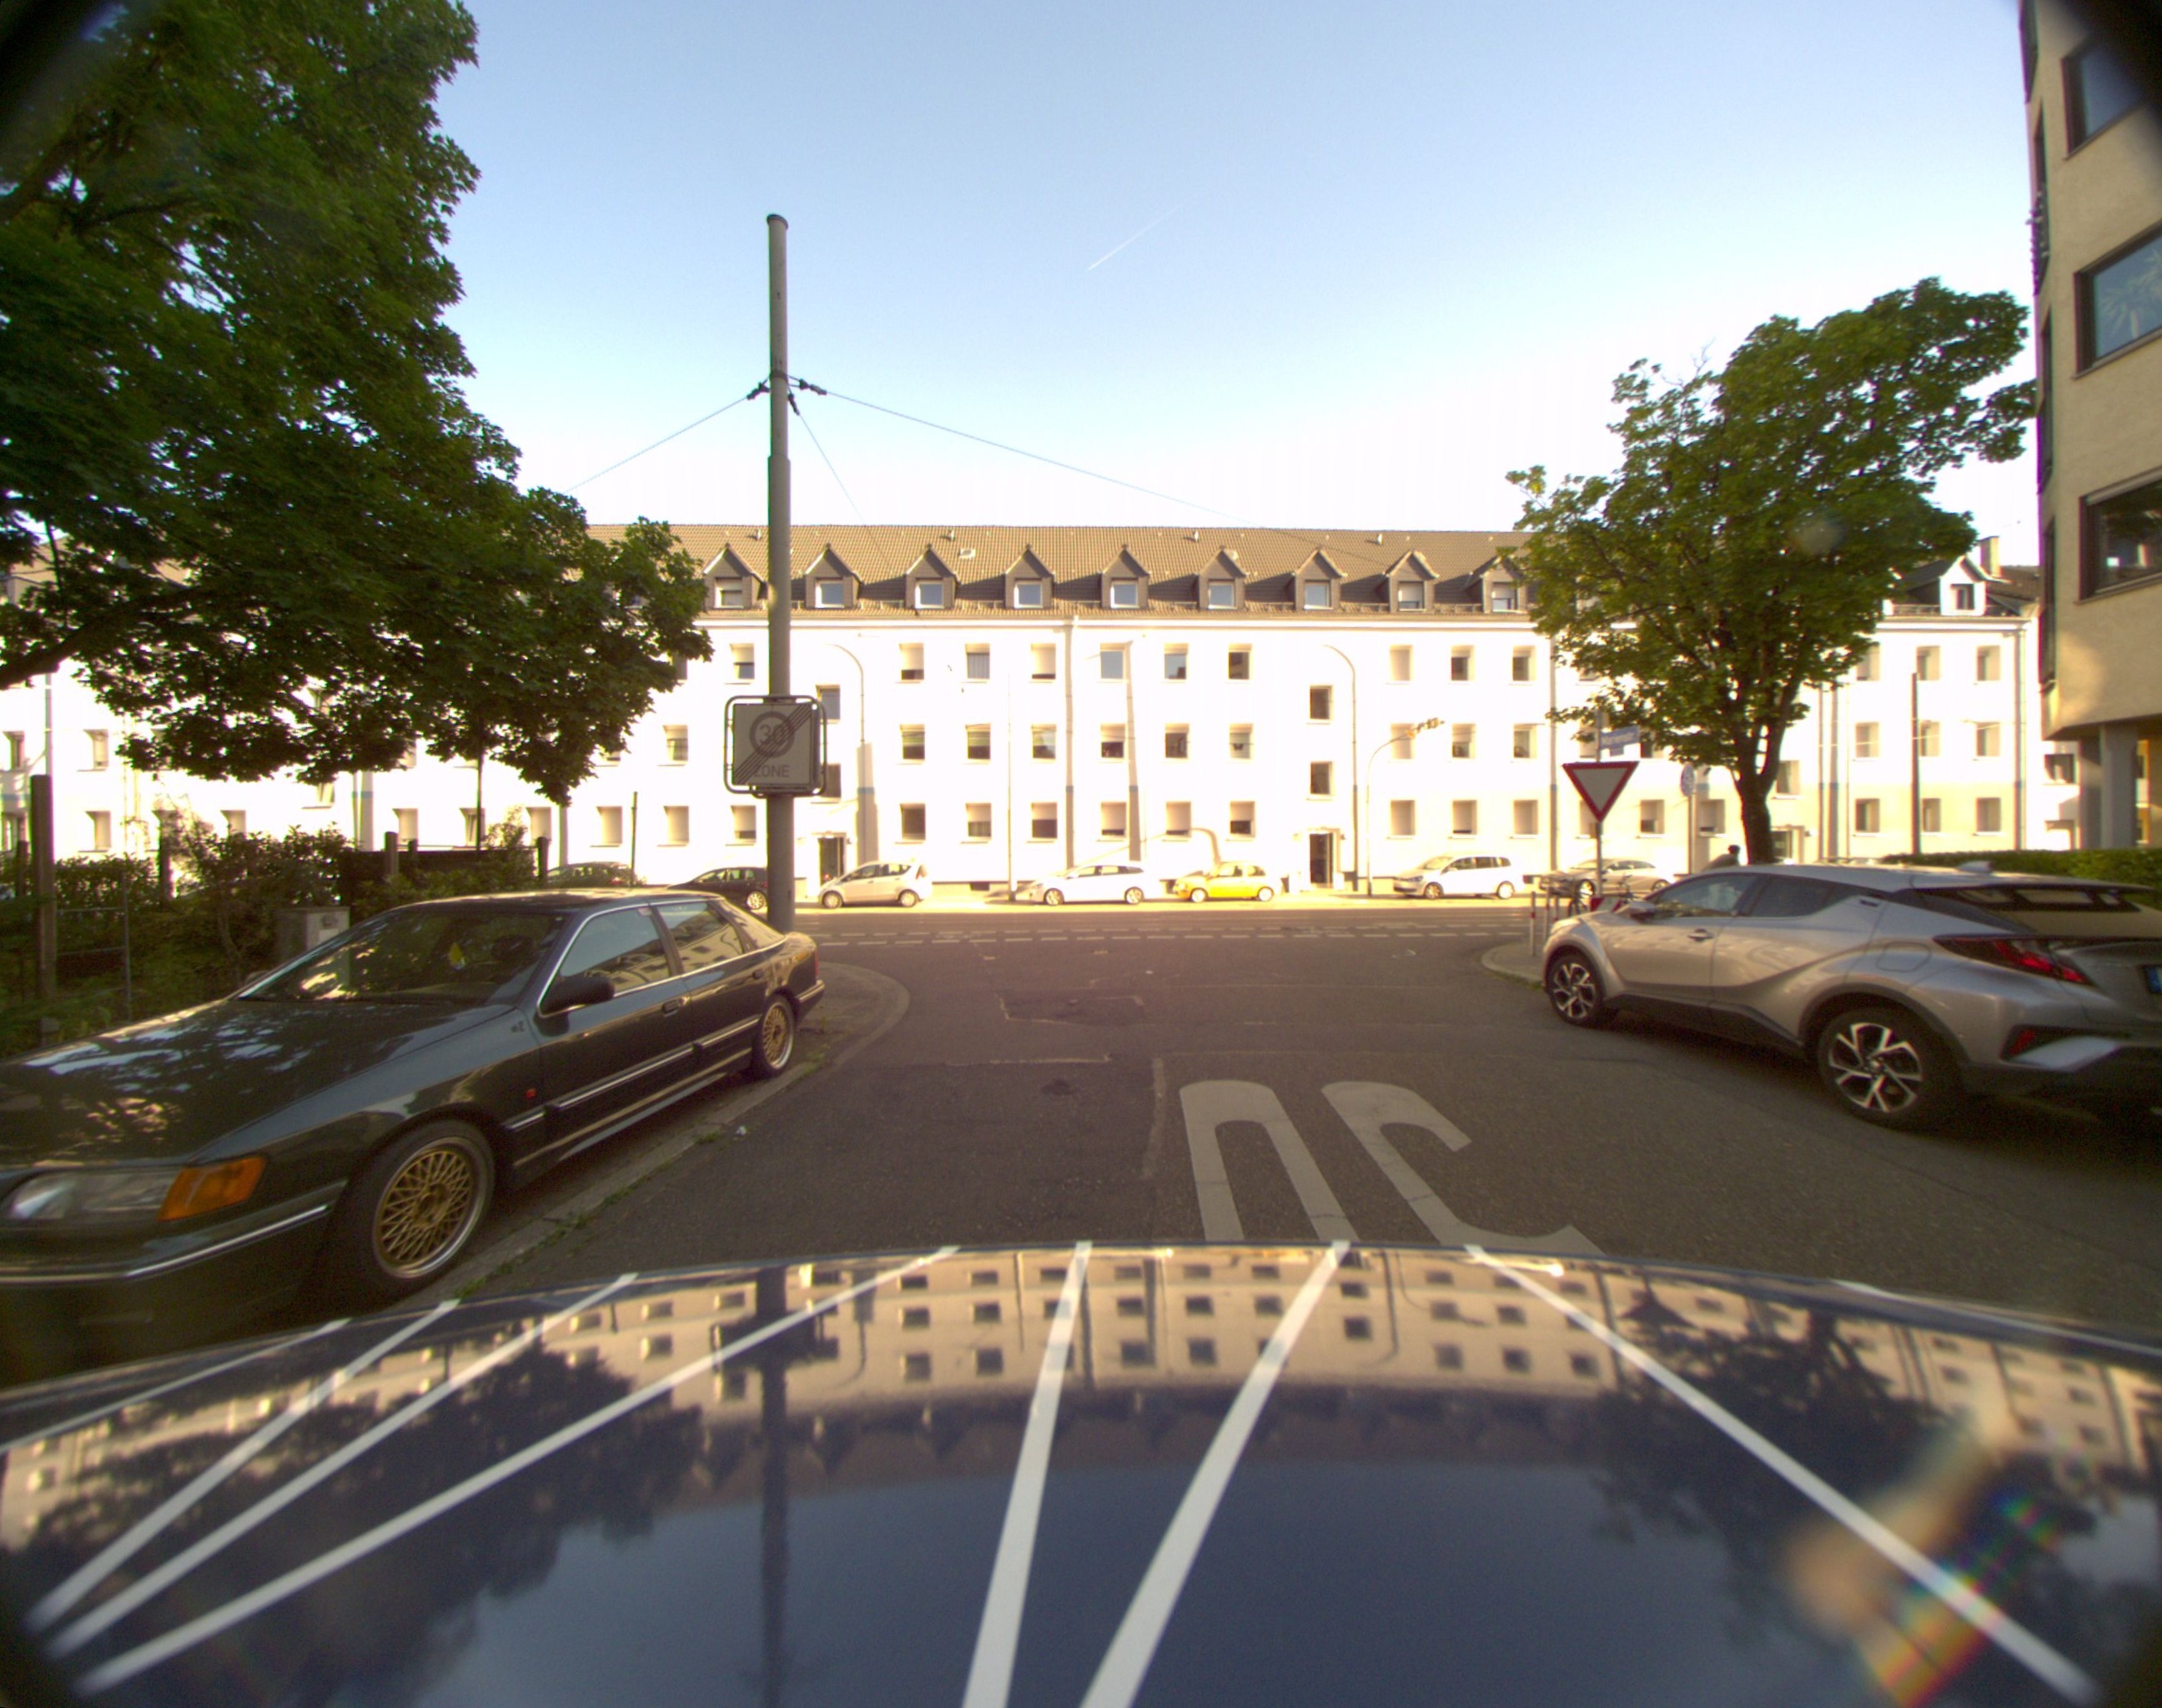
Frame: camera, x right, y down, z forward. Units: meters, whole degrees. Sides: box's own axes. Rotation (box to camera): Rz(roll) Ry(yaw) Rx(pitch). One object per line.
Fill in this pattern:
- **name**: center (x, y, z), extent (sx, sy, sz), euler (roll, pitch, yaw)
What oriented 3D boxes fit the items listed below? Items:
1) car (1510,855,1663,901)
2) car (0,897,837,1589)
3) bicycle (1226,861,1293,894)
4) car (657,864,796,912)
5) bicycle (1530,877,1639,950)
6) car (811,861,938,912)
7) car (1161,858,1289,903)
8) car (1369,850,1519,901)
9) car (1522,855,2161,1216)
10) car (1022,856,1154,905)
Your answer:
- **car**: center (18.459, 0.836, 27.866), extent (4.363, 1.546, 1.869), euler (0, 2, -1)
- **car**: center (-3.104, 1.079, 4.183), extent (1.712, 1.380, 4.571), euler (0, 0, 5)
- **bicycle**: center (6.887, 0.895, 29.398), extent (2.326, 1.190, 1.099), euler (-1, 0, -4)
- **car**: center (-12.149, 1.139, 26.191), extent (4.004, 1.529, 1.596), euler (0, 2, -1)
- **bicycle**: center (8.508, 0.969, 12.941), extent (0.595, 1.078, 1.883), euler (0, 0, 0)
- **car**: center (-7.091, 1.092, 26.418), extent (3.901, 1.563, 1.759), euler (0, 4, -1)
- **car**: center (5.061, 0.920, 27.001), extent (4.199, 1.422, 1.518), euler (-1, 1, -3)
- **car**: center (13.112, 0.745, 27.597), extent (4.625, 1.657, 1.758), euler (-1, 4, -5)
- **car**: center (5.424, 0.872, 5.574), extent (1.908, 1.650, 3.999), euler (1, 1, -2)
- **car**: center (0.220, 0.910, 26.693), extent (4.507, 1.562, 1.684), euler (0, 2, -3)
